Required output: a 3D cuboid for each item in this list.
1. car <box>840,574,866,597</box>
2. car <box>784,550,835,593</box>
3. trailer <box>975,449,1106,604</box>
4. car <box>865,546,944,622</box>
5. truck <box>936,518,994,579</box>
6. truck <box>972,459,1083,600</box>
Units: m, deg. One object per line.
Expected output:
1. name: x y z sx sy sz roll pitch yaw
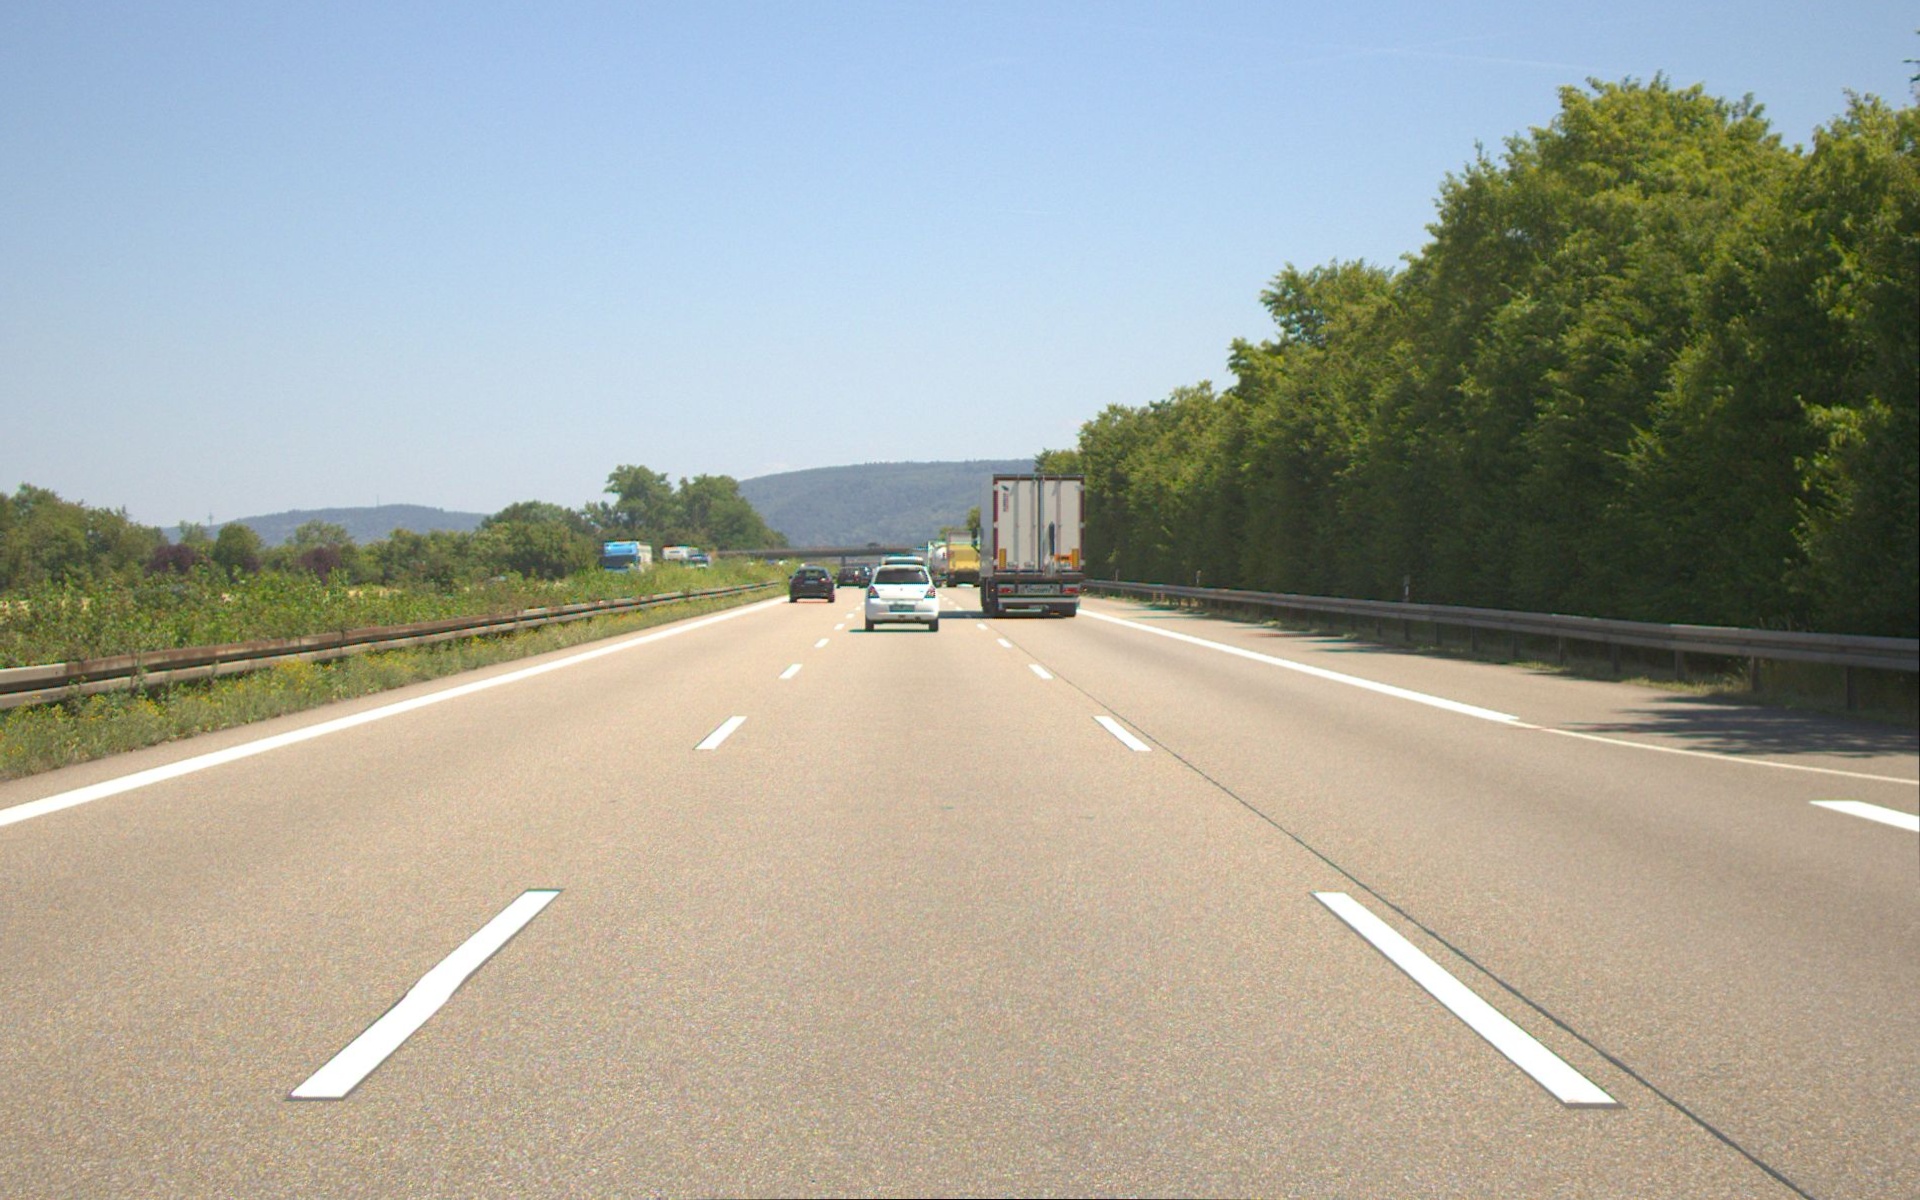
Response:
1. car: -7.385 -1.027 237.379 1.795 1.545 4.000 0 0 -1
2. car: -6.118 -1.172 139.998 1.993 1.706 4.000 1 1 -2
3. trailer: 2.292 -2.149 103.431 3.217 4.330 13.630 1 1 -1
4. car: -1.304 -0.396 79.087 1.732 1.678 4.000 -1 1 -2
5. truck: 0.310 -3.773 252.834 3.871 4.330 13.861 1 1 -1
6. truck: 2.117 -2.238 110.558 3.217 4.330 6.591 1 1 -1
